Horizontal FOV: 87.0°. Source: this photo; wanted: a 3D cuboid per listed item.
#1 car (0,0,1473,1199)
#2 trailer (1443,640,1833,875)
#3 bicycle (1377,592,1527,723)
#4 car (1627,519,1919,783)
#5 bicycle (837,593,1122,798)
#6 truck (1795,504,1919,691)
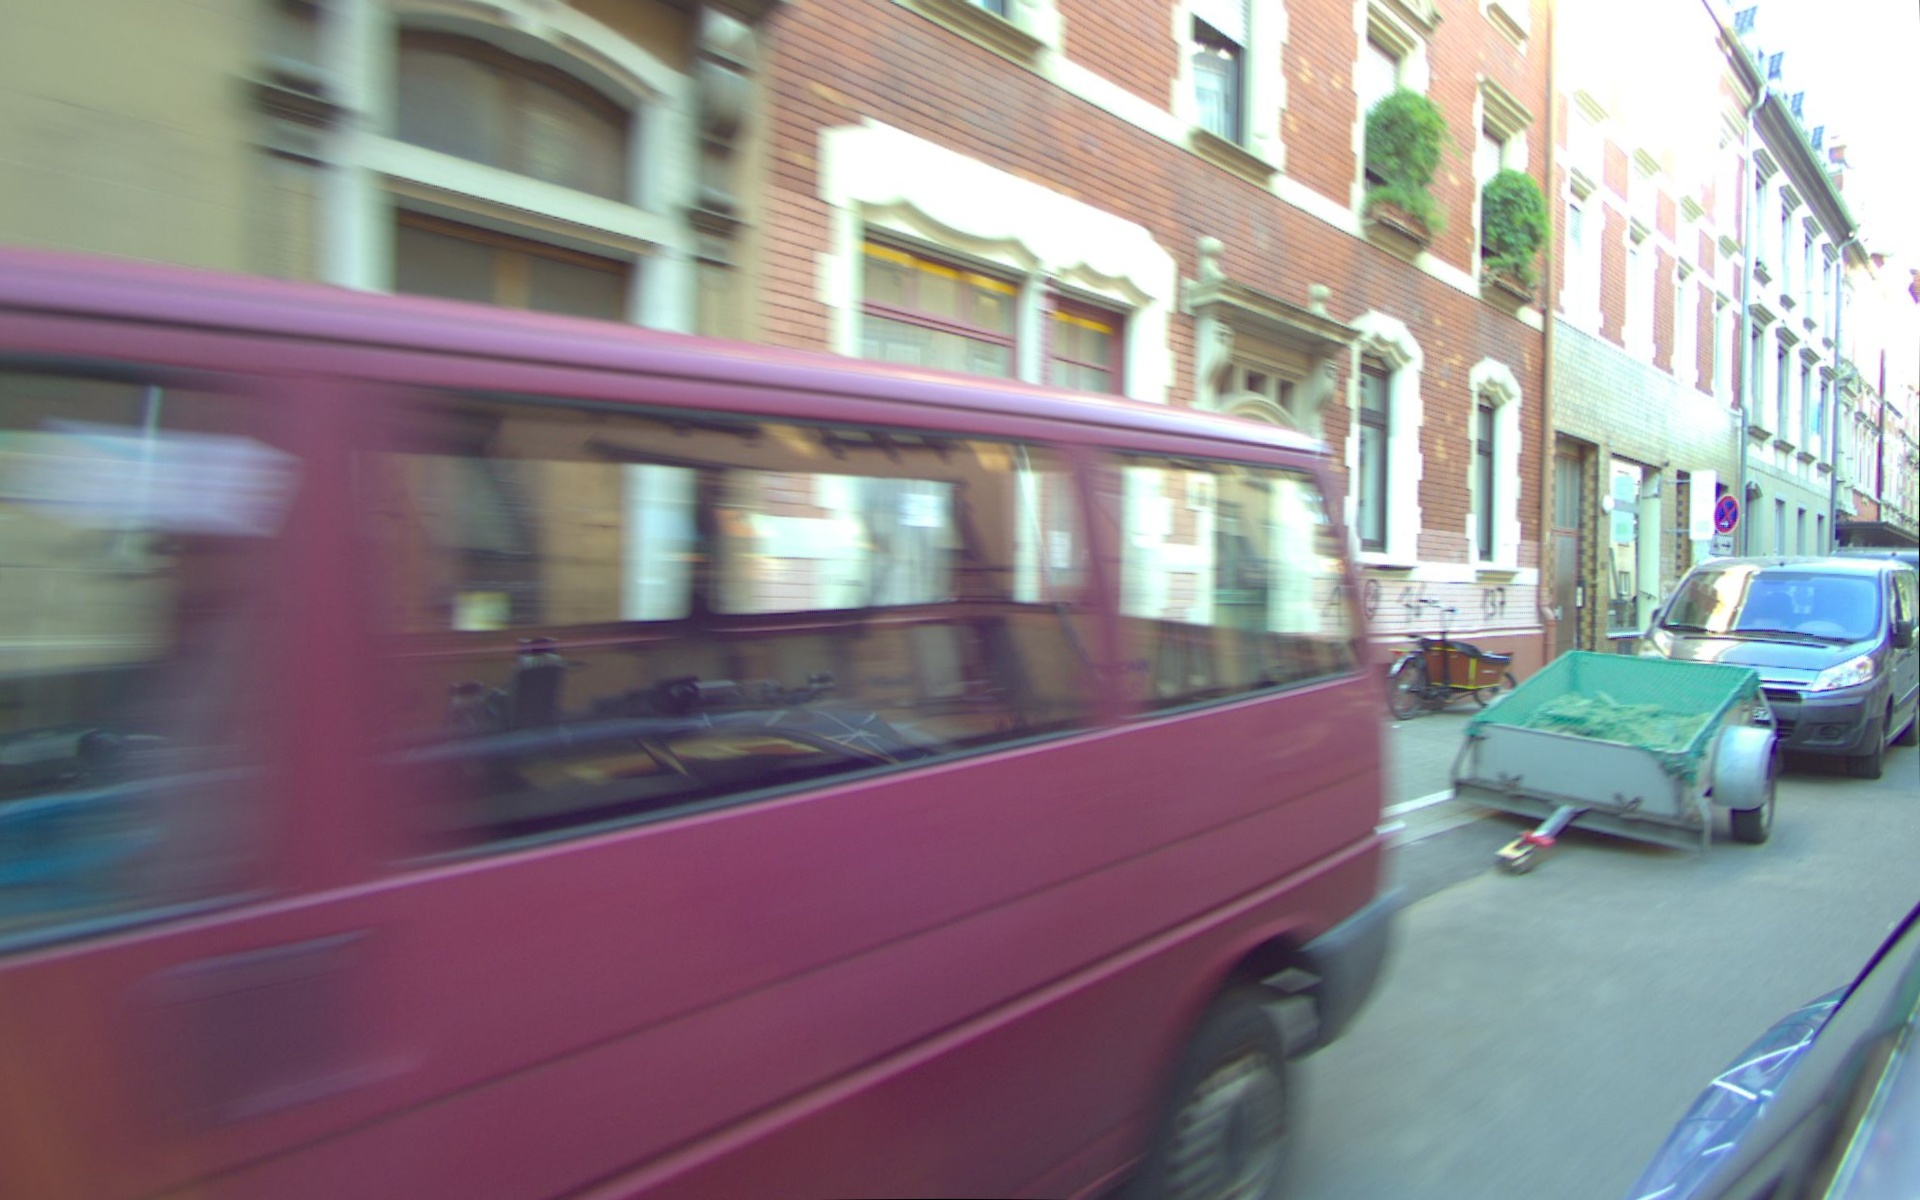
[{"bbox_3d":[-1.023,0.386,1.791,4.659,2.039,1.835,0,-1,-41],"label":"car"},{"bbox_3d":[4.657,0.881,6.824,2.988,1.127,1.506,0,-2,-43],"label":"trailer"},{"bbox_3d":[5.313,0.560,10.882,1.957,1.237,0.670,-1,4,-41],"label":"bicycle"},{"bbox_3d":[8.320,0.399,9.919,4.497,2.009,1.847,0,-1,-42],"label":"car"},{"bbox_3d":[0.176,0.561,6.754,1.865,1.135,0.703,1,4,-42],"label":"bicycle"},{"bbox_3d":[16.082,-0.049,17.105,6.149,2.688,2.152,0,5,-44],"label":"truck"}]
